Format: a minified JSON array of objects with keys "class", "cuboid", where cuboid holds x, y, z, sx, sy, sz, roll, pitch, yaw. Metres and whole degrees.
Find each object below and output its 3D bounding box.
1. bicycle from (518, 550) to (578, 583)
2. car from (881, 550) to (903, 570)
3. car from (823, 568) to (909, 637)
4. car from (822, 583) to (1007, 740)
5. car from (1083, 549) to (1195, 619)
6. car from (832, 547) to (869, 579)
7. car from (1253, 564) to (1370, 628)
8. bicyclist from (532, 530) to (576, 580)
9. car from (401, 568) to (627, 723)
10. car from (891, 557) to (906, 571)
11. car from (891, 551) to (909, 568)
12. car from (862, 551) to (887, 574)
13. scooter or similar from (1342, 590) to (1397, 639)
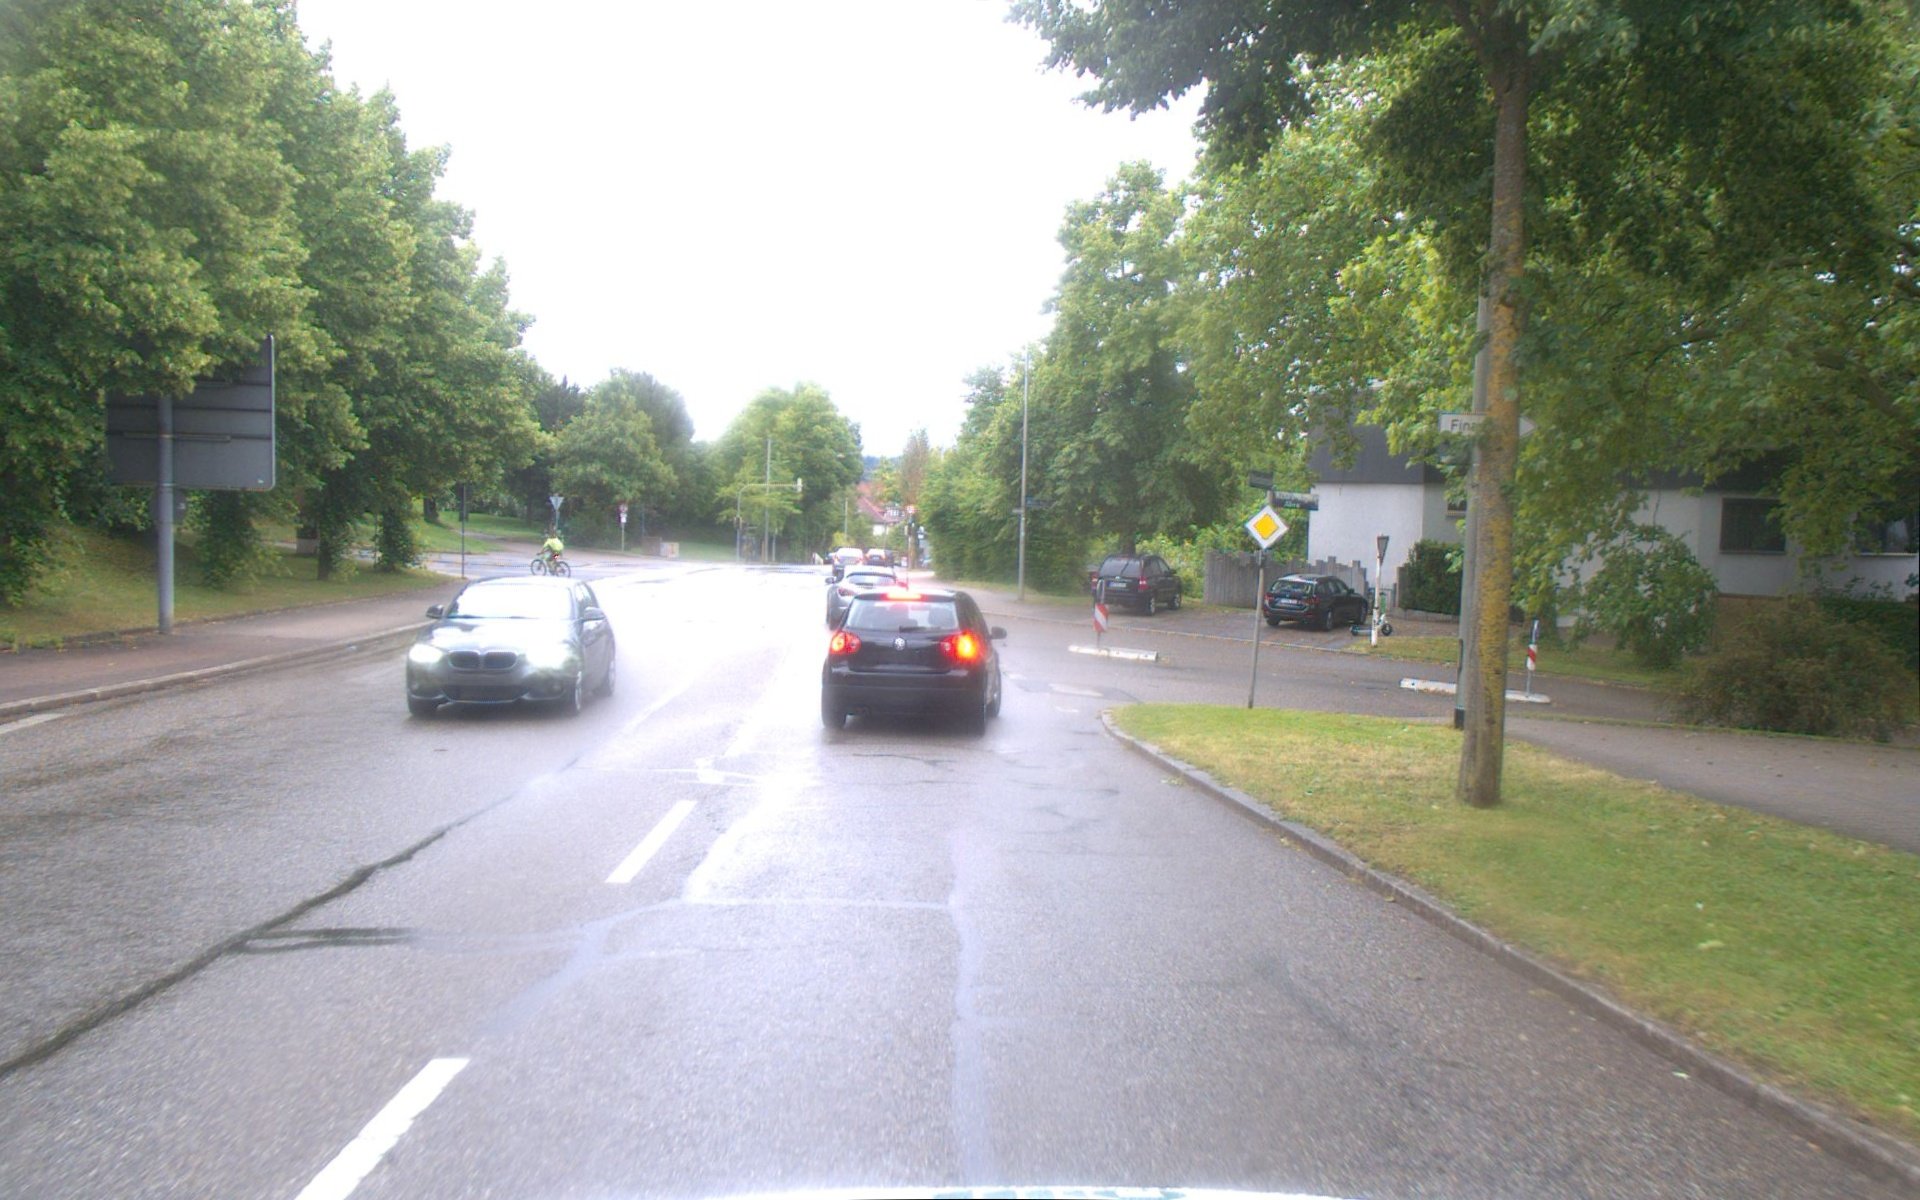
[{"class":"bicycle","cuboid":[-15.223,-1.240,61.095,1.989,1.175,0.855,2,0,18]},{"class":"car","cuboid":[-5.662,-3.388,138.226,1.687,1.489,3.999,5,2,-2]},{"class":"car","cuboid":[-2.264,0.014,38.996,1.721,1.489,3.994,1,1,-7]},{"class":"car","cuboid":[-0.395,0.615,18.402,1.685,1.489,4.001,2,0,3]},{"class":"car","cuboid":[5.434,-0.537,49.717,1.909,1.718,4.903,4,5,23]},{"class":"car","cuboid":[-5.703,-1.960,86.635,1.687,1.489,3.999,5,2,-2]},{"class":"car","cuboid":[10.122,-0.159,47.388,1.721,1.494,4.554,6,6,32]},{"class":"bicyclist","cuboid":[-14.984,-1.669,61.027,1.255,1.786,0.855,2,0,18]},{"class":"car","cuboid":[-4.819,0.413,18.394,1.688,1.407,4.136,2,2,-5]},{"class":"car","cuboid":[-7.595,-4.455,204.510,1.687,1.489,3.999,5,2,-2]},{"class":"car","cuboid":[-6.027,-4.116,167.454,1.687,1.489,3.999,5,2,-2]},{"class":"car","cuboid":[-6.198,-2.733,120.255,1.687,1.489,3.999,5,2,-2]},{"class":"scooter or similar","cuboid":[11.152,0.382,45.073,1.311,1.308,0.560,1,1,-10]}]
